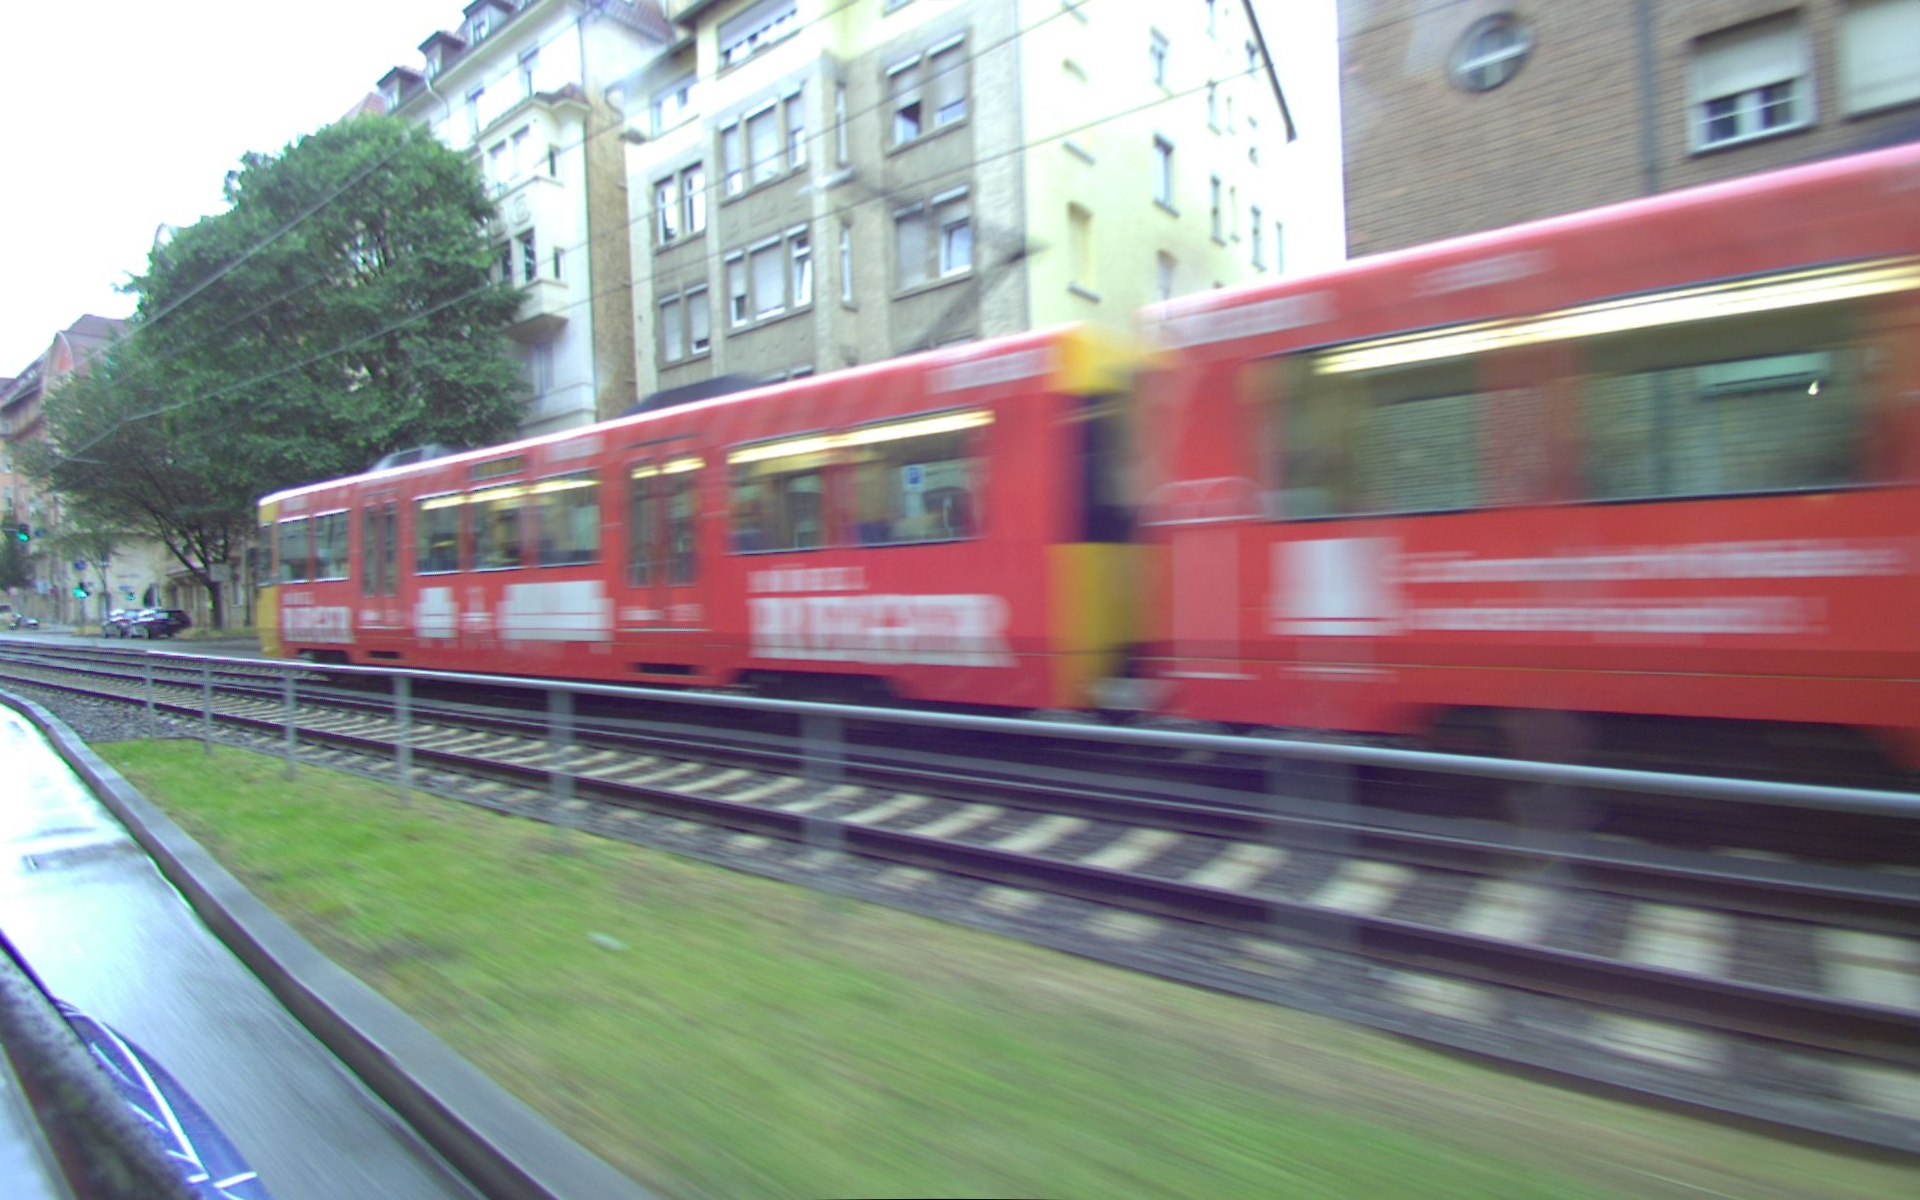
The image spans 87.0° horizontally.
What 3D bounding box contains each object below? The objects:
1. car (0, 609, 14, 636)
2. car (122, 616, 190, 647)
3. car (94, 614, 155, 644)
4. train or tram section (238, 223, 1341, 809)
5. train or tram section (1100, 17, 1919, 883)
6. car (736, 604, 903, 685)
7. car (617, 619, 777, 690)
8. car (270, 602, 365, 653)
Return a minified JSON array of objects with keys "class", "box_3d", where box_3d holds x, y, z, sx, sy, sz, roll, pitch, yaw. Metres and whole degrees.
[{"class":"car","box_3d":[-73.701,1.754,76.972,3.995,1.984,1.974,-2,-1,39]},{"class":"car","box_3d":[-39.099,1.512,49.171,4.160,1.445,1.698,-1,0,38]},{"class":"car","box_3d":[-43.772,1.516,52.996,4.160,1.501,1.629,-2,-1,38]},{"class":"train or tram section","box_3d":[-5.030,-0.431,13.878,19.272,3.950,2.689,-1,0,38]},{"class":"train or tram section","box_3d":[9.622,-0.781,2.173,19.836,3.950,2.689,-1,0,38]},{"class":"car","box_3d":[-2.831,0.854,20.173,3.109,1.477,1.628,-2,-1,40]},{"class":"car","box_3d":[-5.826,1.151,22.249,3.630,1.414,1.628,-2,-1,40]},{"class":"car","box_3d":[-23.099,0.992,36.320,4.093,1.719,1.629,-2,-1,38]}]
